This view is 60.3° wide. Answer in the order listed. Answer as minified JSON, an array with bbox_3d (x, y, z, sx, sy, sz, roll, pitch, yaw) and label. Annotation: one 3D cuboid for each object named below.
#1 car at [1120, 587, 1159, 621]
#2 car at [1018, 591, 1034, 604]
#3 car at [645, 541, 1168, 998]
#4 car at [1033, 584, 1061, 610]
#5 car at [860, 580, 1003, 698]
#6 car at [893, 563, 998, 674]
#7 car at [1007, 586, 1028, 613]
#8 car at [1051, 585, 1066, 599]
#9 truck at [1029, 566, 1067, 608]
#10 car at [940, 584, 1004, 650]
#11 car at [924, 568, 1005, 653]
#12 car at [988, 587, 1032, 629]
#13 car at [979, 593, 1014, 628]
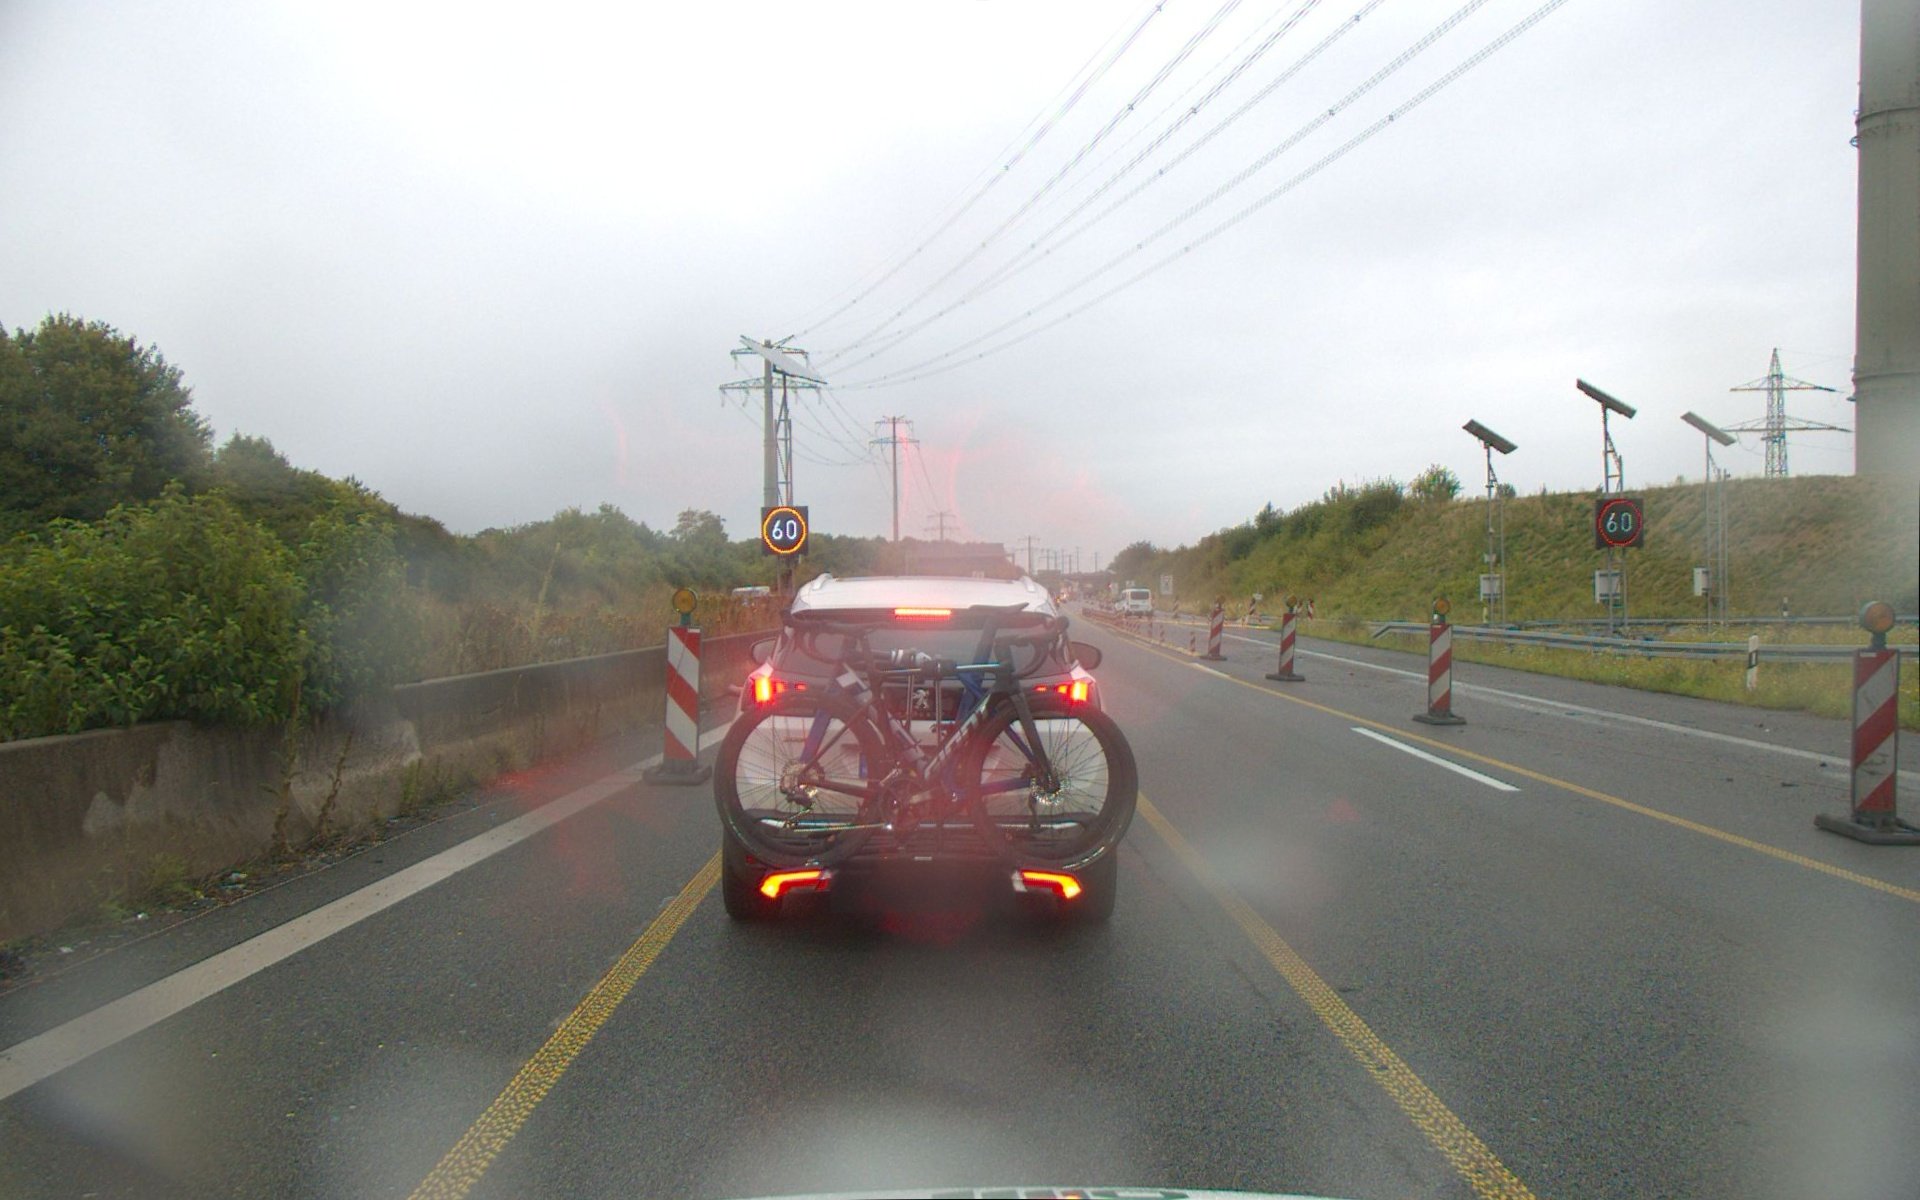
[{"bbox_3d":[11.299,0.232,104.332,1.953,2.049,3.999,-1,0,-1],"label":"car"},{"bbox_3d":[8.962,-0.381,224.440,1.953,1.765,3.782,-1,0,-1],"label":"car"},{"bbox_3d":[-0.142,0.601,8.300,1.888,1.639,4.596,0,0,1],"label":"car"},{"bbox_3d":[6.986,-0.218,132.527,1.953,2.049,3.999,1,0,-1],"label":"car"},{"bbox_3d":[-0.420,0.522,24.639,1.953,1.611,3.999,0,0,-1],"label":"car"},{"bbox_3d":[-0.301,0.335,33.307,1.953,2.049,3.999,-1,0,-1],"label":"car"},{"bbox_3d":[4.479,-0.070,128.570,1.619,2.049,4.002,0,0,3],"label":"car"},{"bbox_3d":[14.290,-1.207,239.746,1.953,2.049,3.999,1,0,-1],"label":"car"},{"bbox_3d":[9.718,-1.529,183.740,3.654,3.887,11.876,1,4,1],"label":"truck"},{"bbox_3d":[0.343,0.545,53.781,1.953,2.049,3.999,1,0,-1],"label":"car"},{"bbox_3d":[0.085,0.240,42.628,1.953,2.049,3.999,-1,0,-1],"label":"car"},{"bbox_3d":[2.539,0.421,85.055,1.953,2.049,3.998,-1,-1,-2],"label":"car"},{"bbox_3d":[2.168,0.638,98.828,1.953,2.049,3.999,1,0,-1],"label":"car"}]
